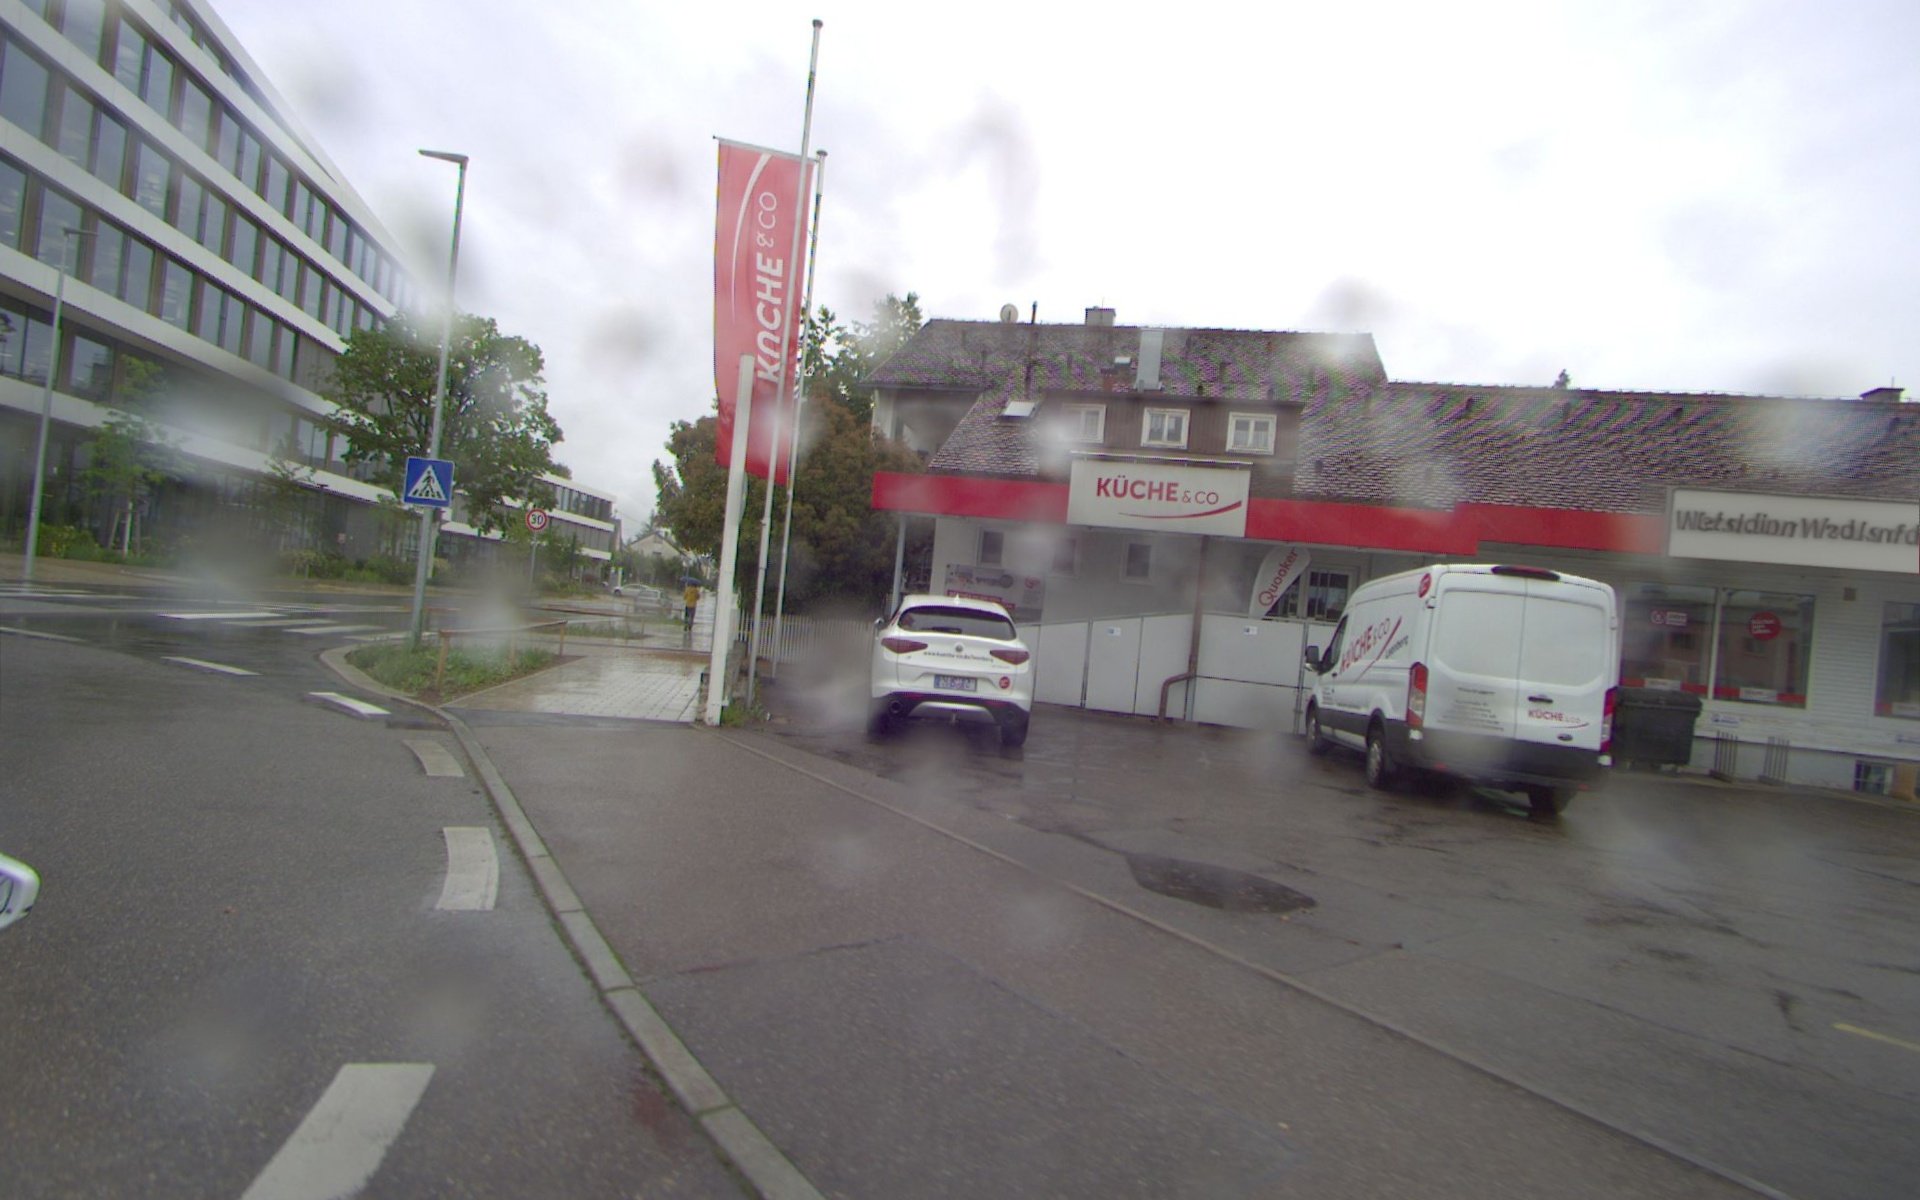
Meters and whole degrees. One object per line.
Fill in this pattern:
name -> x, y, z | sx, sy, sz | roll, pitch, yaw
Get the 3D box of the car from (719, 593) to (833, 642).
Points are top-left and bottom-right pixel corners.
car -> -7.456, 0.707, 40.753 | 4.086, 1.600, 1.989 | 5, 0, -24

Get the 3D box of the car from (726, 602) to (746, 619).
car -> -28.701, 1.417, 128.955 | 2.127, 1.723, 3.997 | 10, -3, -10

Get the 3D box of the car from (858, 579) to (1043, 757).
car -> -0.241, 0.749, 12.823 | 1.814, 1.711, 4.168 | 6, -1, -4

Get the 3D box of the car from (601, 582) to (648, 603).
car -> -31.635, -0.677, 94.935 | 3.874, 1.440, 1.896 | 7, -1, -9

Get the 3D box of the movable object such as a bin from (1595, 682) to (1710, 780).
movable object such as a bin -> 11.972, 2.242, 17.448 | 1.146, 1.362, 1.165 | 7, 4, 14

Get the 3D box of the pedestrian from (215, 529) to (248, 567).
pedestrian -> -36.526, -2.586, 50.424 | 0.714, 1.721, 0.956 | 10, -2, -6

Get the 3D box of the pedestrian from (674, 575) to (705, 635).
pedestrian -> -9.545, 0.184, 35.500 | 0.847, 2.039, 1.193 | 4, 0, -12

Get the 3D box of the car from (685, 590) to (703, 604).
car -> -36.918, -0.406, 139.769 | 1.966, 1.649, 4.146 | 6, -1, -10

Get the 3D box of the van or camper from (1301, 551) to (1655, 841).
van or camper -> 5.867, 0.995, 12.344 | 2.089, 2.571, 5.267 | 6, -1, 9

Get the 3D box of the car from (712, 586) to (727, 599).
car -> -39.790, -1.175, 166.655 | 1.976, 1.839, 4.971 | 7, -1, -11

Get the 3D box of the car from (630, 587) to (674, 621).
car -> -18.059, 0.294, 59.202 | 1.925, 1.571, 3.994 | 10, -3, -12
